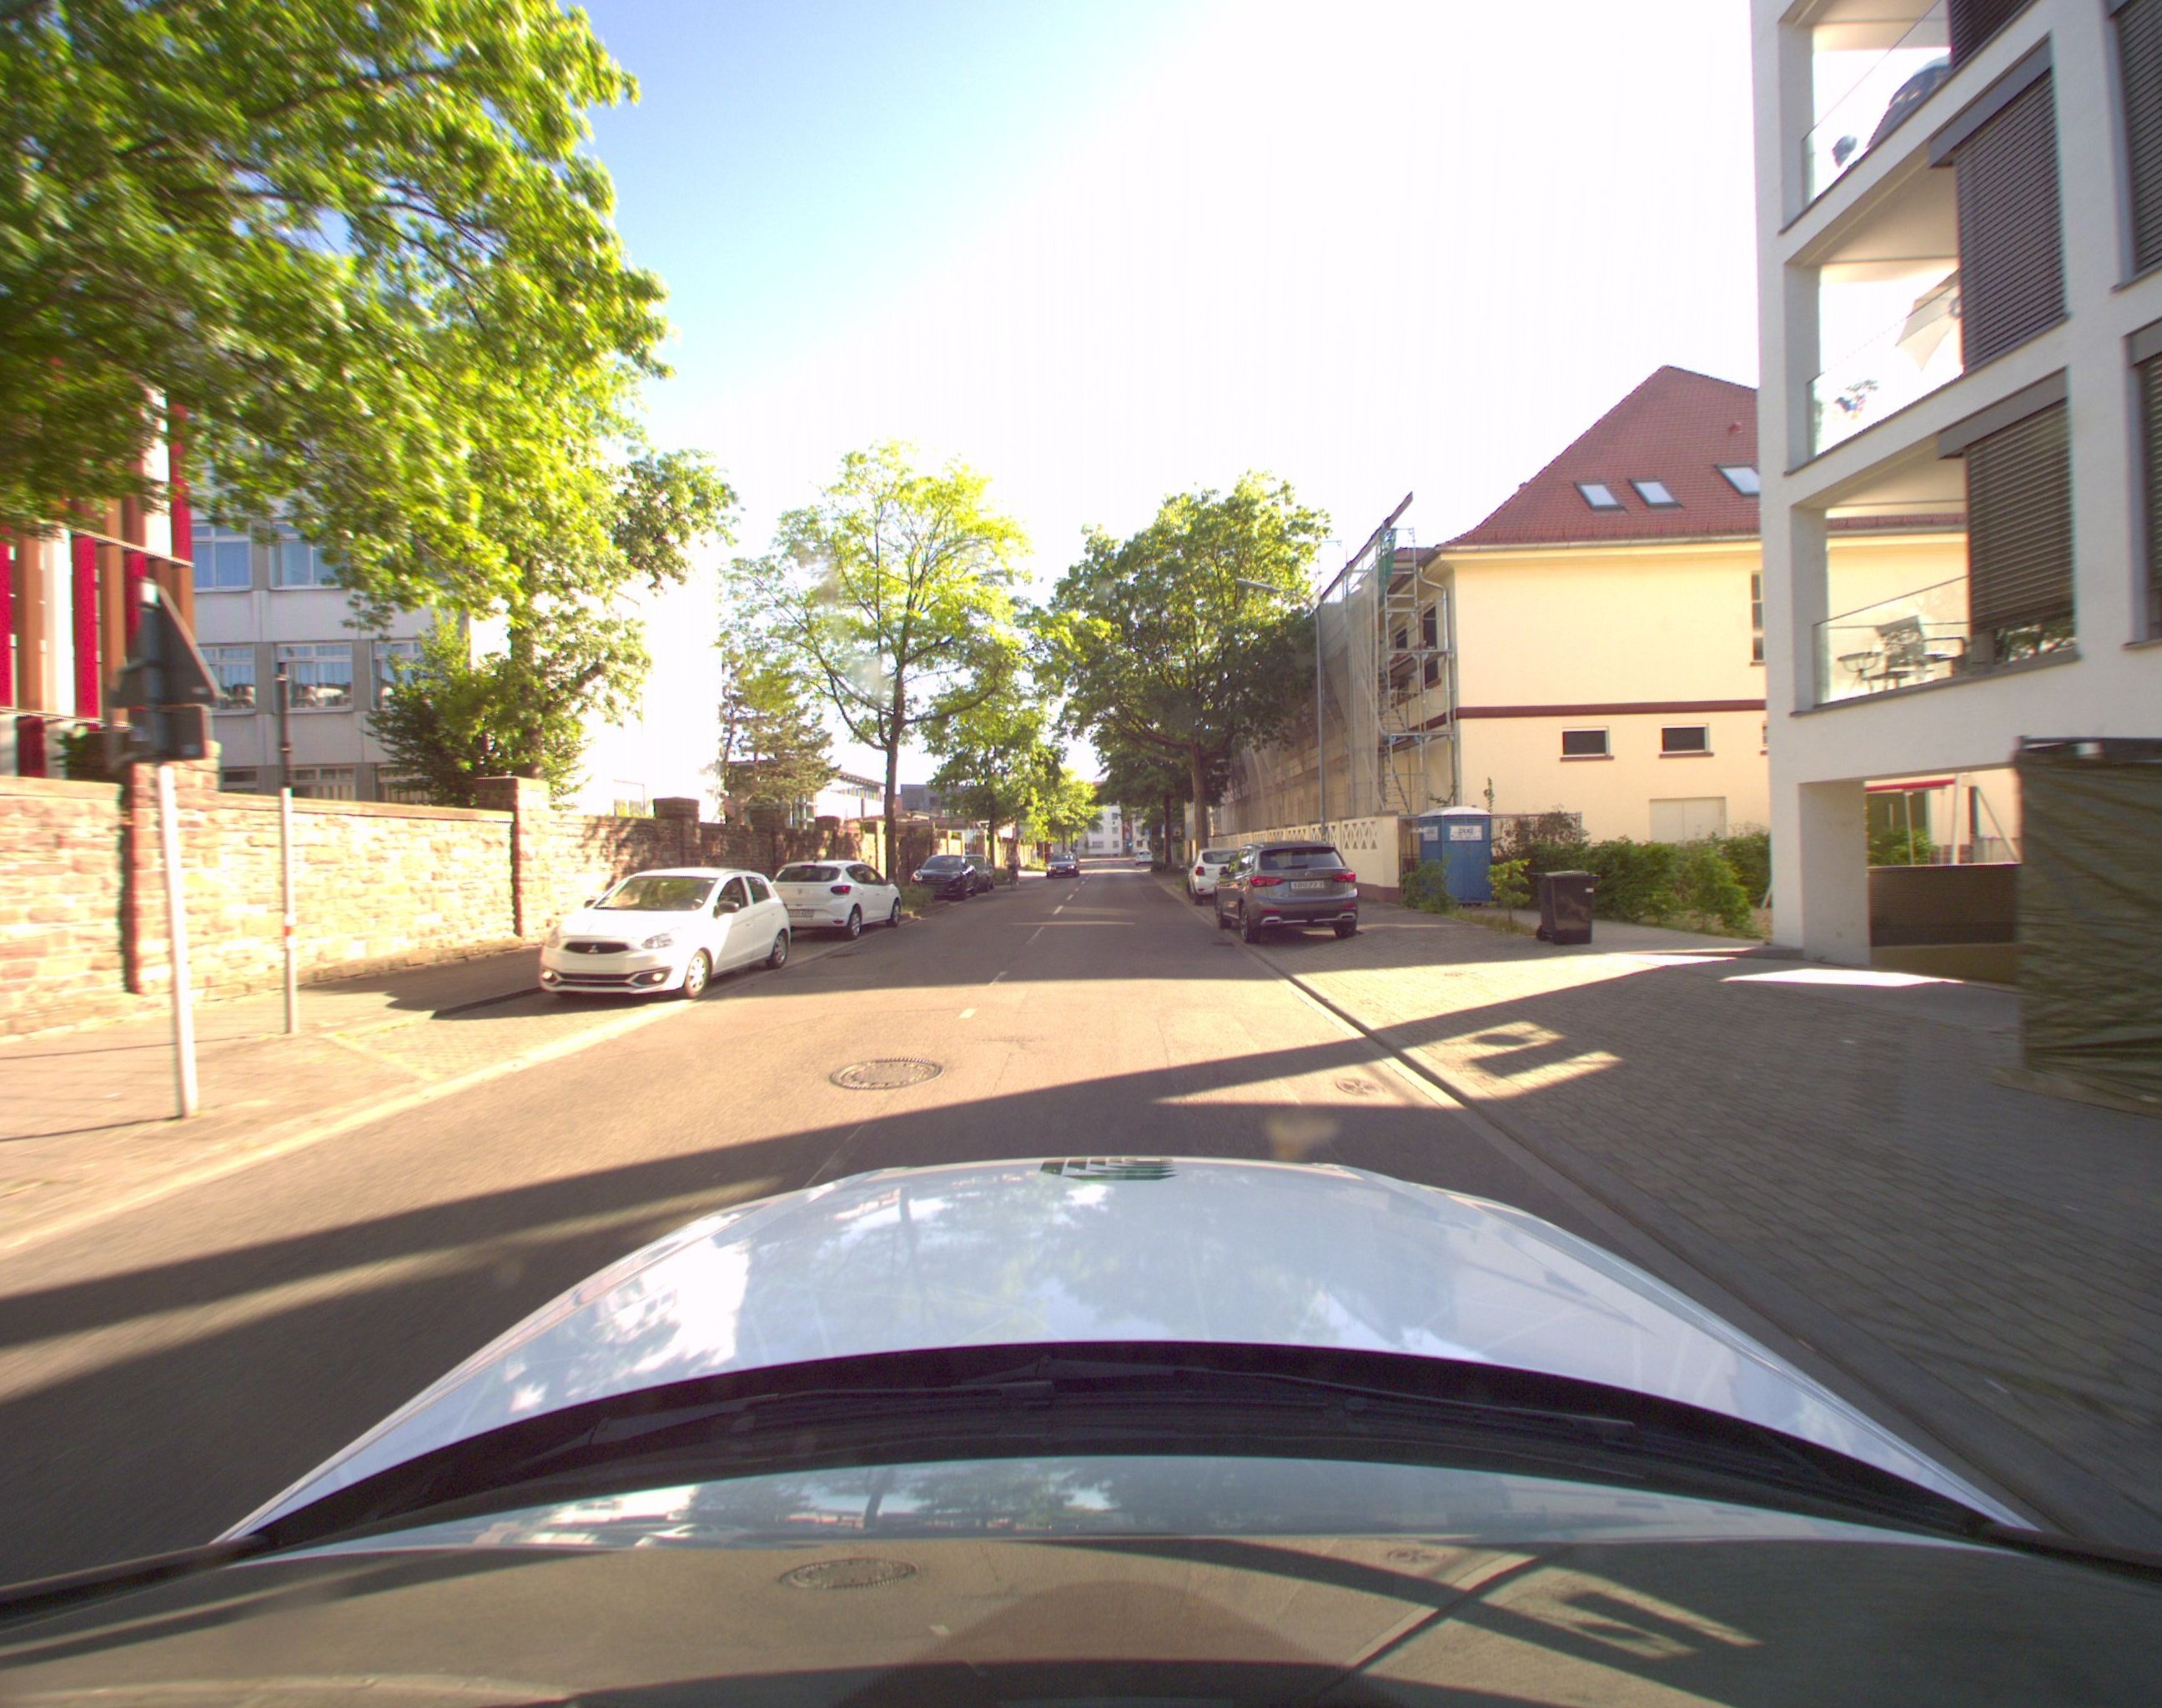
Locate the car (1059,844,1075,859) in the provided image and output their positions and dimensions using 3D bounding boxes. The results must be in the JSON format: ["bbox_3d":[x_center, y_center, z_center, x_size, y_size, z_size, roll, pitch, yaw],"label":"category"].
[{"bbox_3d":[-1.631,-0.325,98.055,1.714,1.683,4.351,-2,1,1],"label":"car"}]

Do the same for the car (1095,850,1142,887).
[{"bbox_3d":[1.505,0.542,33.895,1.682,1.421,3.836,0,1,-2],"label":"car"}]

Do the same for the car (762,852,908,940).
[{"bbox_3d":[-4.903,0.761,16.794,1.670,1.511,3.852,1,1,3],"label":"car"}]

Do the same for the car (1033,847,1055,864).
[{"bbox_3d":[-3.290,0.104,72.273,1.602,1.459,3.711,0,1,2],"label":"car"}]

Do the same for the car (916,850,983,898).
[{"bbox_3d":[-4.493,0.632,28.352,1.568,1.515,4.046,-1,1,1],"label":"car"}]

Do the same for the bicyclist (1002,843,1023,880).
[{"bbox_3d":[-2.845,0.315,33.979,0.717,1.522,1.007,0,0,5],"label":"bicyclist"}]

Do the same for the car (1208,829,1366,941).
[{"bbox_3d":[3.466,0.447,14.520,1.706,1.638,4.303,-2,1,0],"label":"car"}]

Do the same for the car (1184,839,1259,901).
[{"bbox_3d":[3.910,0.375,23.204,1.715,1.510,3.998,-3,1,5],"label":"car"}]

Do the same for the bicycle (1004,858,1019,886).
[{"bbox_3d":[-2.903,0.744,34.015,0.356,1.120,1.867,0,0,3],"label":"bicycle"}]

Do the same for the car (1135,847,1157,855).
[{"bbox_3d":[11.096,-0.512,138.803,3.378,1.443,1.654,0,1,27],"label":"car"}]

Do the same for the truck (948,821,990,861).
[{"bbox_3d":[-10.646,-1.219,78.273,2.722,3.711,7.432,0,1,2],"label":"truck"}]

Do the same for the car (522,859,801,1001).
[{"bbox_3d":[-5.109,0.815,10.538,1.568,1.402,3.752,1,1,1],"label":"car"}]

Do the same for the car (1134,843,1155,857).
[{"bbox_3d":[6.188,-0.405,79.574,1.826,1.323,4.498,-3,0,2],"label":"car"}]

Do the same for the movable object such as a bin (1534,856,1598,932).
[{"bbox_3d":[6.807,0.547,11.445,0.595,1.027,0.565,0,0,5],"label":"movable object such as a bin"}]

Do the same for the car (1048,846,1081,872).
[{"bbox_3d":[-0.945,0.262,48.576,1.815,1.436,3.969,-1,1,0],"label":"car"}]
